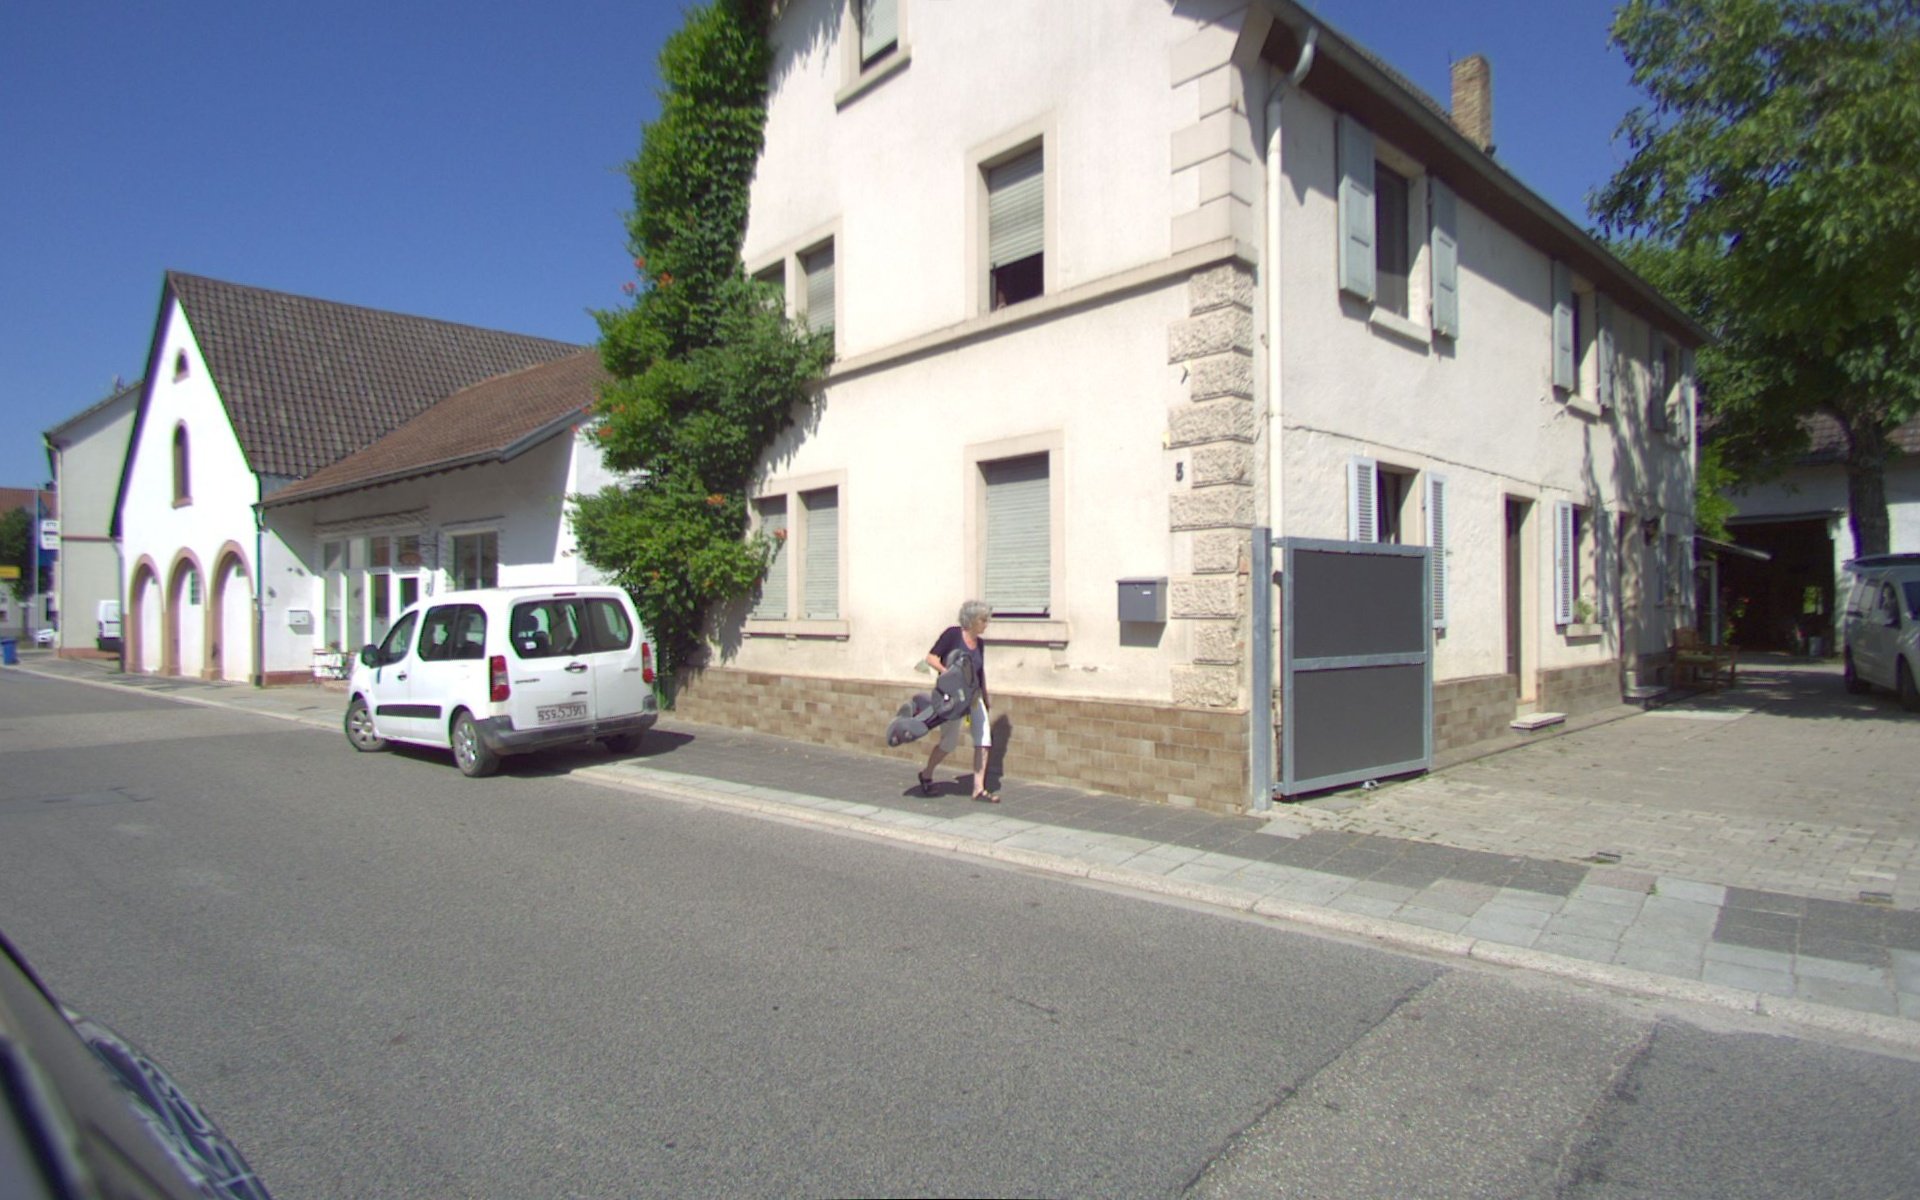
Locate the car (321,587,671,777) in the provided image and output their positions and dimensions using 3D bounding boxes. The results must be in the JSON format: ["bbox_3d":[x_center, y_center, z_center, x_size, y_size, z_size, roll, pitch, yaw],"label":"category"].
[{"bbox_3d":[-5.184,0.759,11.017,4.428,1.659,1.836,-1,-1,41],"label":"car"}]

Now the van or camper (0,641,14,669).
[{"bbox_3d":[-33.929,1.935,35.870,0.582,0.959,0.600,0,-1,-45],"label":"van or camper"}]

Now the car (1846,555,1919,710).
[{"bbox_3d":[12.698,0.356,12.481,1.898,1.811,4.210,-1,0,31],"label":"car"}]

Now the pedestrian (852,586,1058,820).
[{"bbox_3d":[-0.041,0.693,7.511,1.139,1.563,1.002,-1,-1,42],"label":"pedestrian"}]

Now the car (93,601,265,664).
[{"bbox_3d":[-29.957,1.190,38.934,5.111,2.213,2.126,-1,-1,-40],"label":"car"}]
